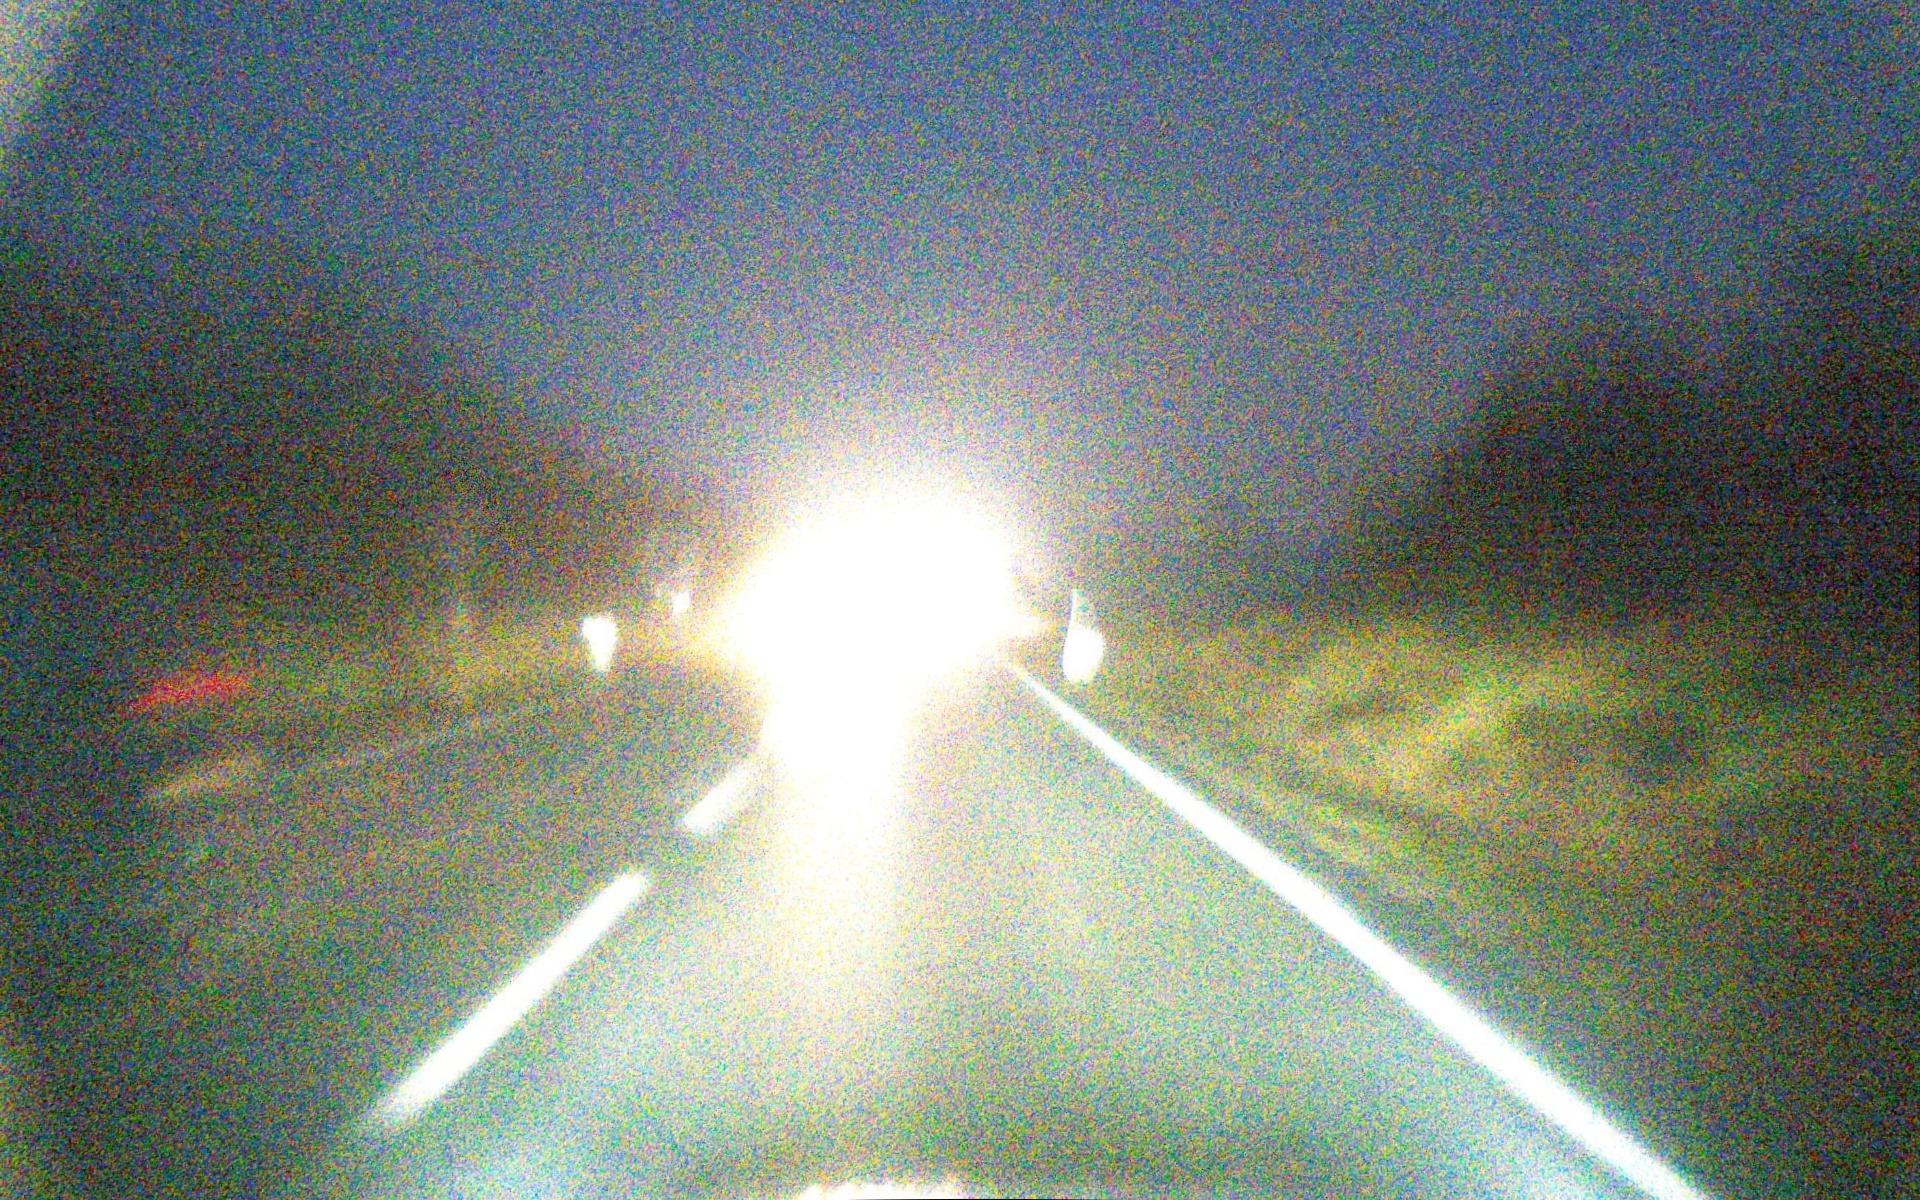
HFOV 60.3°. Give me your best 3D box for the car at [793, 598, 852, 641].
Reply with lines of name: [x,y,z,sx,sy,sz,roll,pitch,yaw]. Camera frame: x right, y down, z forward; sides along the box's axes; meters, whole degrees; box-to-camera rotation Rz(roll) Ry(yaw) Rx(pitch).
car: [-5.204,0.720,62.840,1.953,1.576,3.999,0,0,-1]

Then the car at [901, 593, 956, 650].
car: [-1.137,0.704,57.850,1.805,1.770,3.999,2,1,-2]

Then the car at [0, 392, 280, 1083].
car: [-3.816,0.395,4.887,1.953,2.049,3.999,1,0,-1]
